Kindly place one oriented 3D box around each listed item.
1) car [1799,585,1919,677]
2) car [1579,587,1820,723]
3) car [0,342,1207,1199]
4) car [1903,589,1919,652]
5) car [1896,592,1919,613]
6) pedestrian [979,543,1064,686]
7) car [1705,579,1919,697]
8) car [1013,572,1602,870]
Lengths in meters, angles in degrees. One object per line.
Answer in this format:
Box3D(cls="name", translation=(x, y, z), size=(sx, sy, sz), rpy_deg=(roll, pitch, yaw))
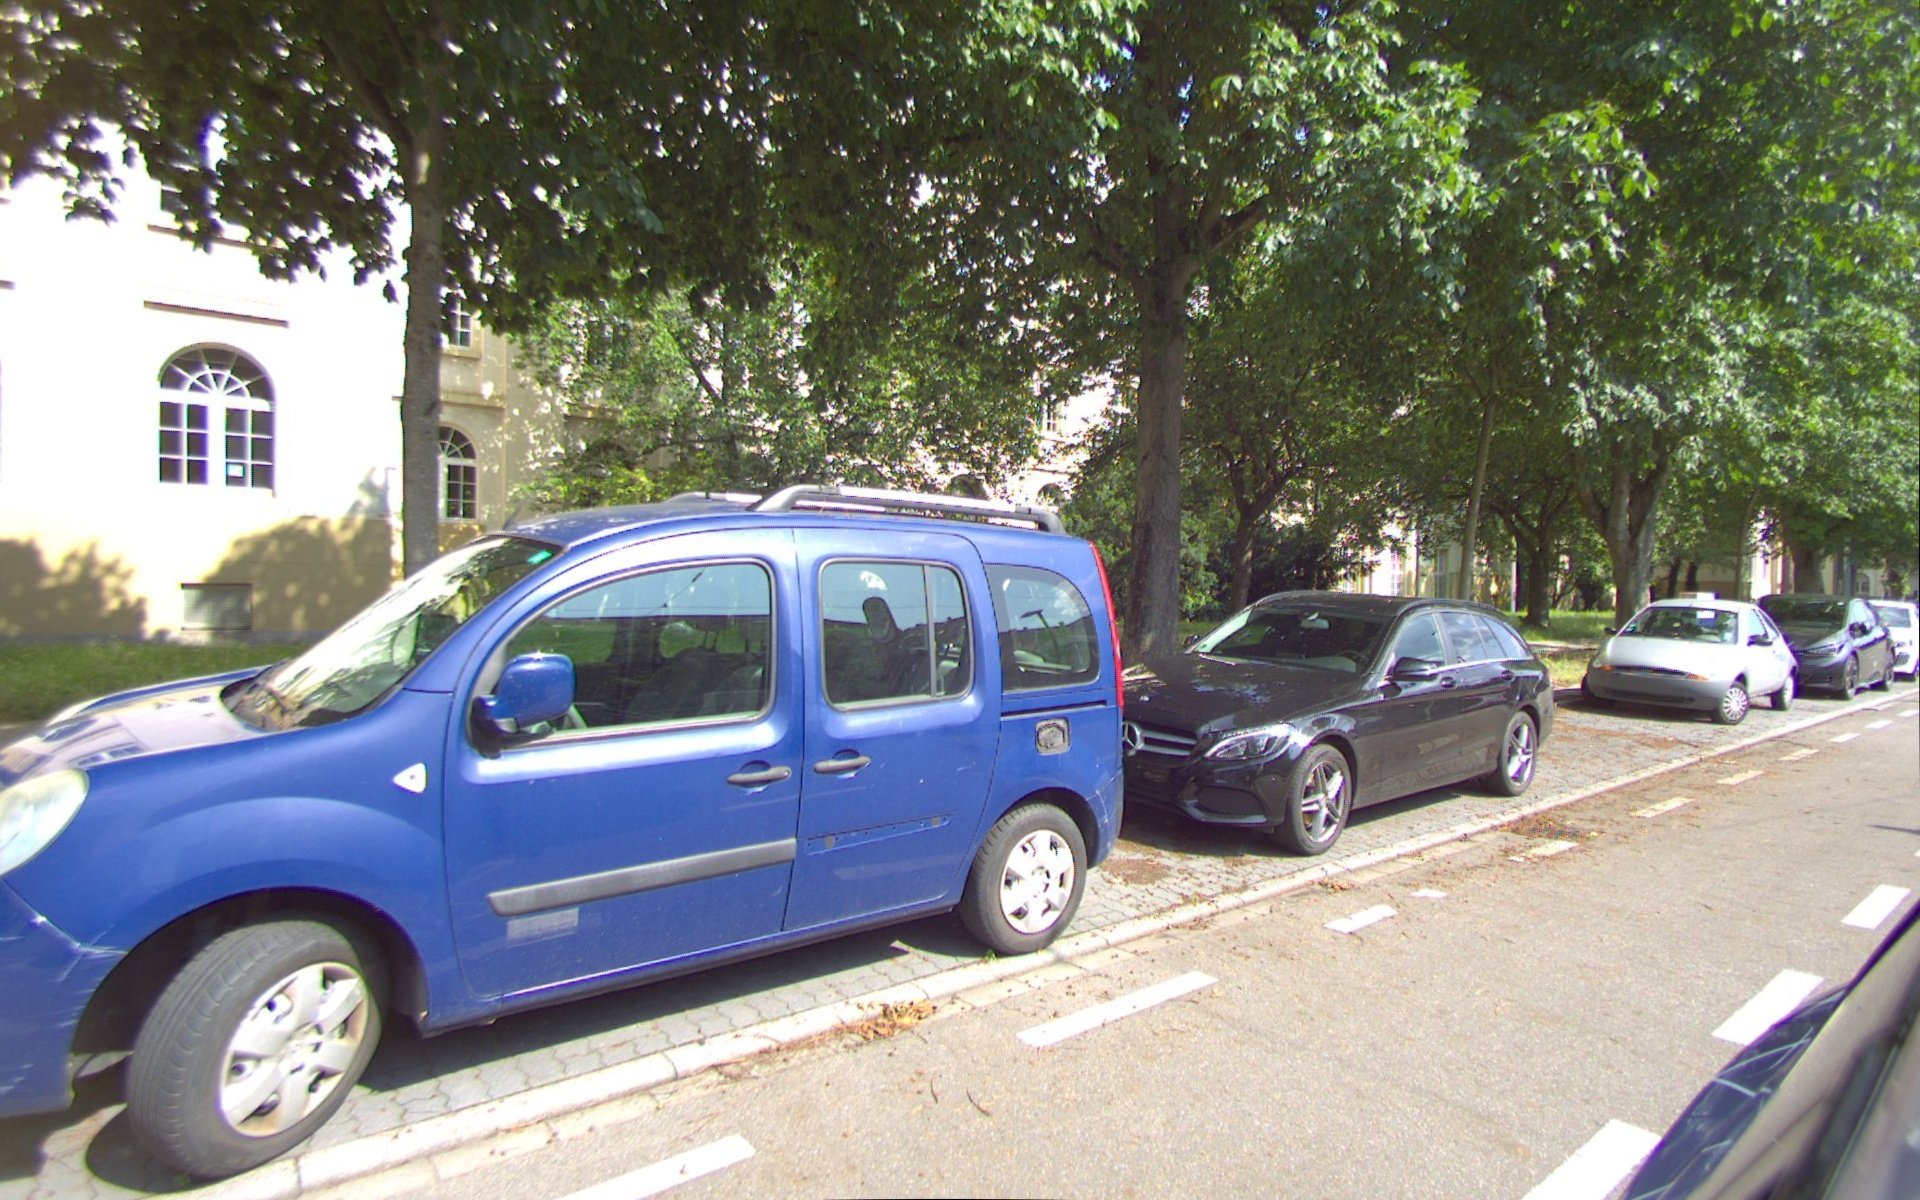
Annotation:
Box3D(cls="car", translation=(18.084, 0.528, 19.836), size=(4.179, 1.542, 1.839), rpy_deg=(0, 4, -41))
Box3D(cls="car", translation=(9.628, 0.599, 13.100), size=(3.532, 1.462, 1.595), rpy_deg=(-1, 3, -38))
Box3D(cls="car", translation=(-1.119, 0.393, 3.956), size=(4.106, 1.919, 1.828), rpy_deg=(1, 2, -37))
Box3D(cls="car", translation=(24.811, 0.521, 25.161), size=(3.497, 1.478, 1.559), rpy_deg=(-1, 5, -41))
Box3D(cls="car", translation=(77.679, 0.215, 80.164), size=(1.820, 1.676, 4.843), rpy_deg=(-1, 2, -28))
Box3D(cls="pedestrian", translation=(0.770, 0.163, 12.730), size=(0.752, 1.717, 0.747), rpy_deg=(0, 1, -36))
Box3D(cls="car", translation=(13.841, 0.523, 16.336), size=(4.591, 1.603, 1.730), rpy_deg=(0, 2, -38))
Box3D(cls="car", translation=(2.790, 0.619, 7.496), size=(4.711, 1.459, 1.922), rpy_deg=(0, 3, -40))
